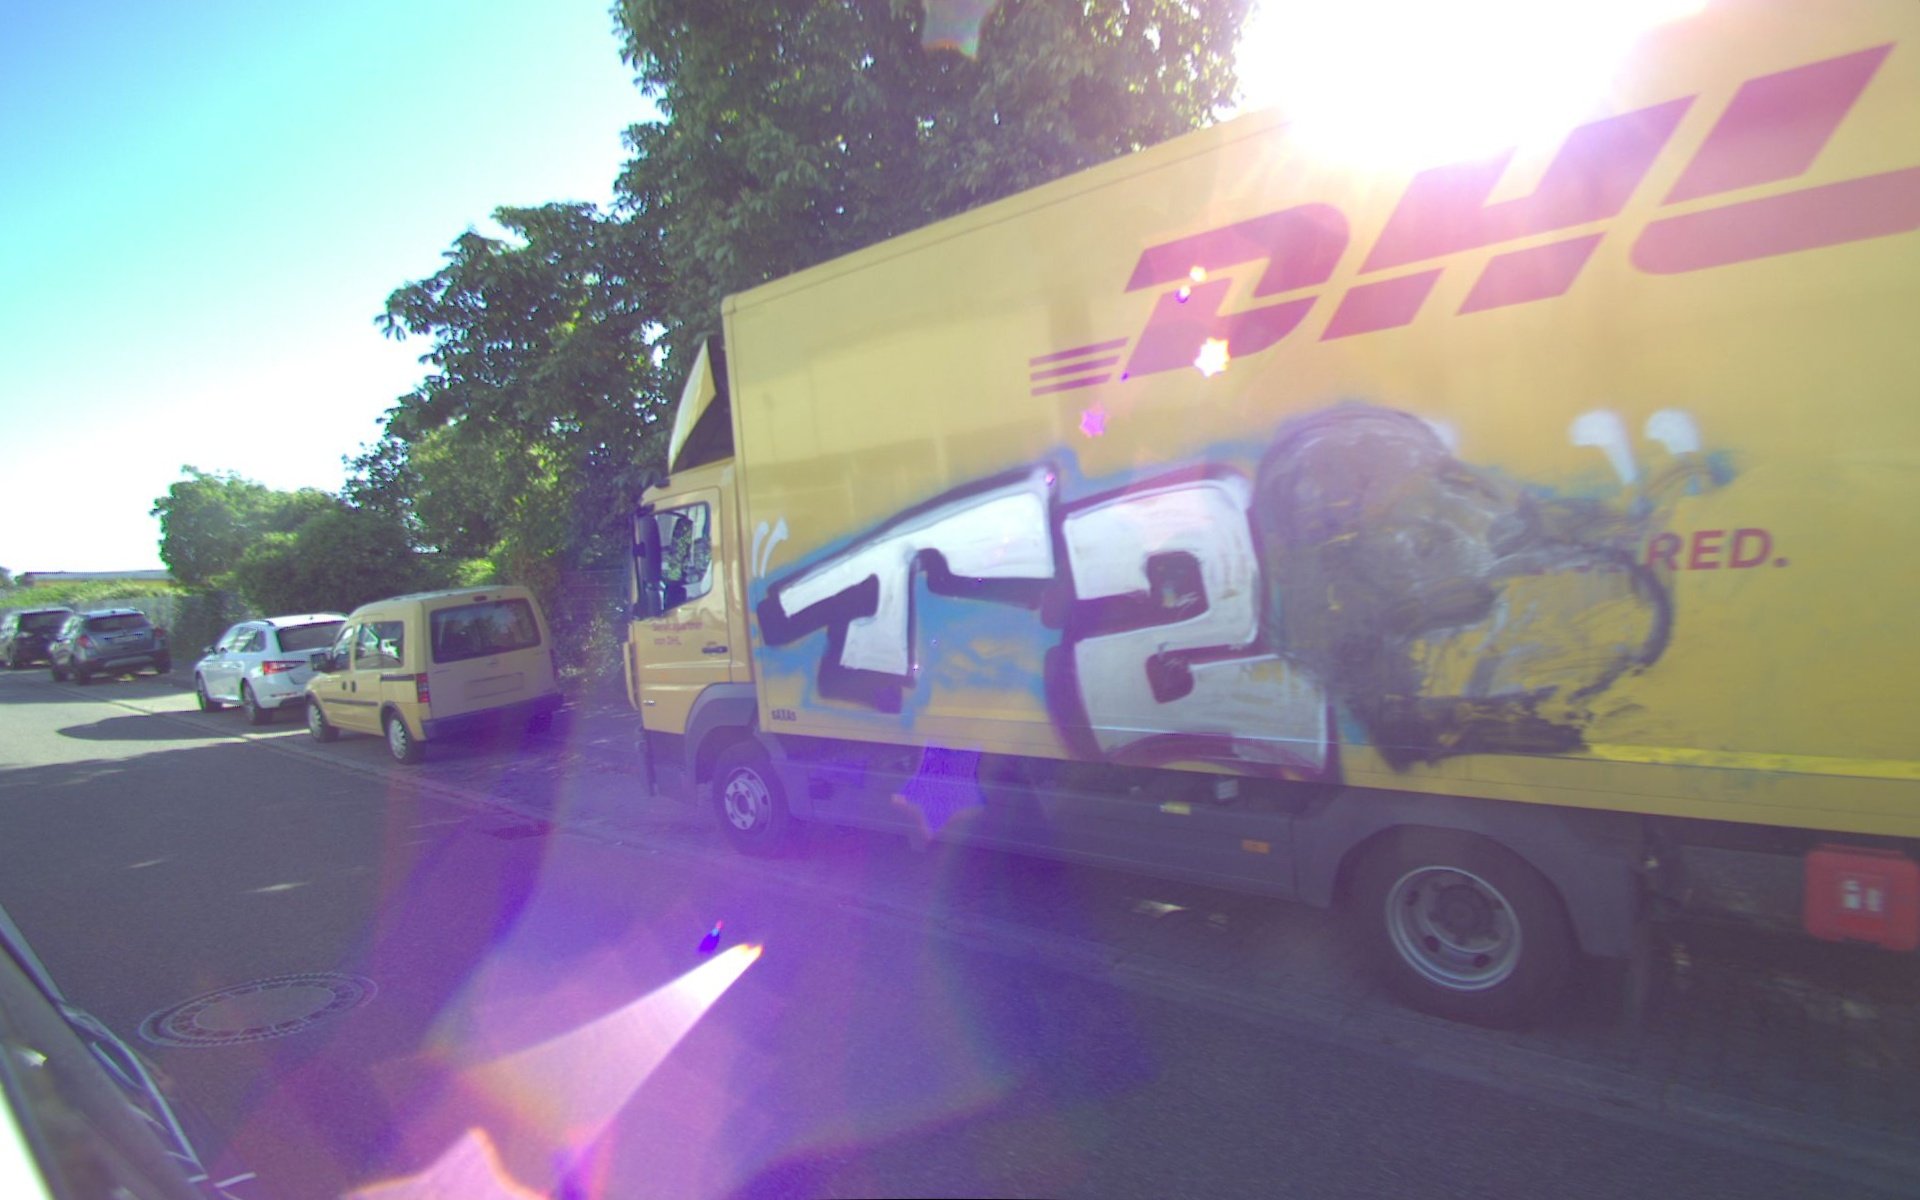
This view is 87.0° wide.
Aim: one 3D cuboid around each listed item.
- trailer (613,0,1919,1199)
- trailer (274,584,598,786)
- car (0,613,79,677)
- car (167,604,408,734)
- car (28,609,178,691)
[{"bbox_3d":[1.875,-0.088,4.901,8.155,3.469,2.961,-1,-1,40],"label":"trailer"},{"bbox_3d":[-6.342,0.870,12.037,4.413,1.956,1.973,-1,-1,41],"label":"trailer"},{"bbox_3d":[-28.752,1.347,31.169,4.800,1.743,1.773,-2,2,42],"label":"car"},{"bbox_3d":[-10.748,0.981,15.996,5.023,1.605,1.888,-2,3,42],"label":"car"},{"bbox_3d":[-20.926,1.176,24.659,4.458,1.674,1.890,-2,3,39],"label":"car"}]
